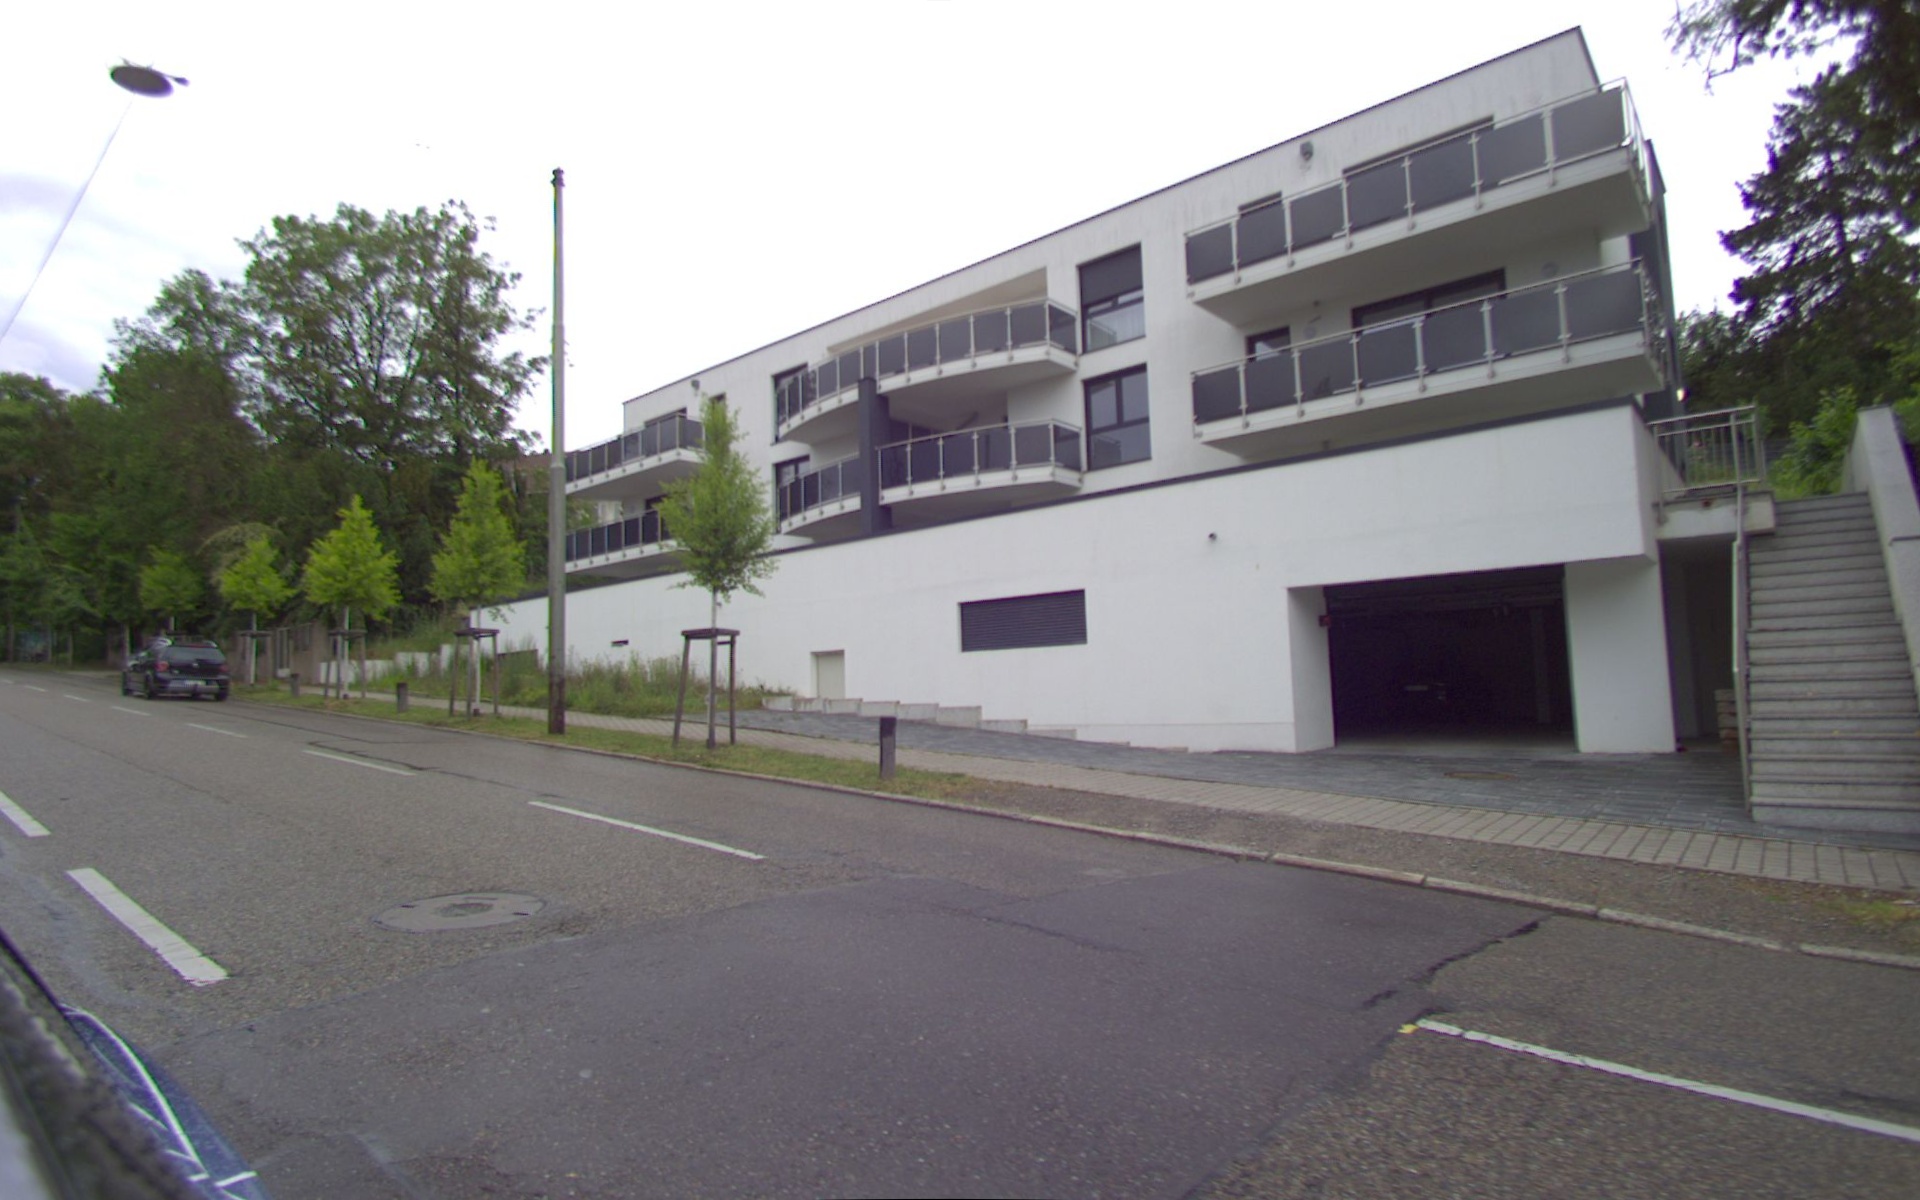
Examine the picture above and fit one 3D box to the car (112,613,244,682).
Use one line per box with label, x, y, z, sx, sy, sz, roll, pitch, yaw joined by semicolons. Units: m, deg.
car;-19.746;1.168;25.497;3.915;1.561;1.728;-1;-6;40
